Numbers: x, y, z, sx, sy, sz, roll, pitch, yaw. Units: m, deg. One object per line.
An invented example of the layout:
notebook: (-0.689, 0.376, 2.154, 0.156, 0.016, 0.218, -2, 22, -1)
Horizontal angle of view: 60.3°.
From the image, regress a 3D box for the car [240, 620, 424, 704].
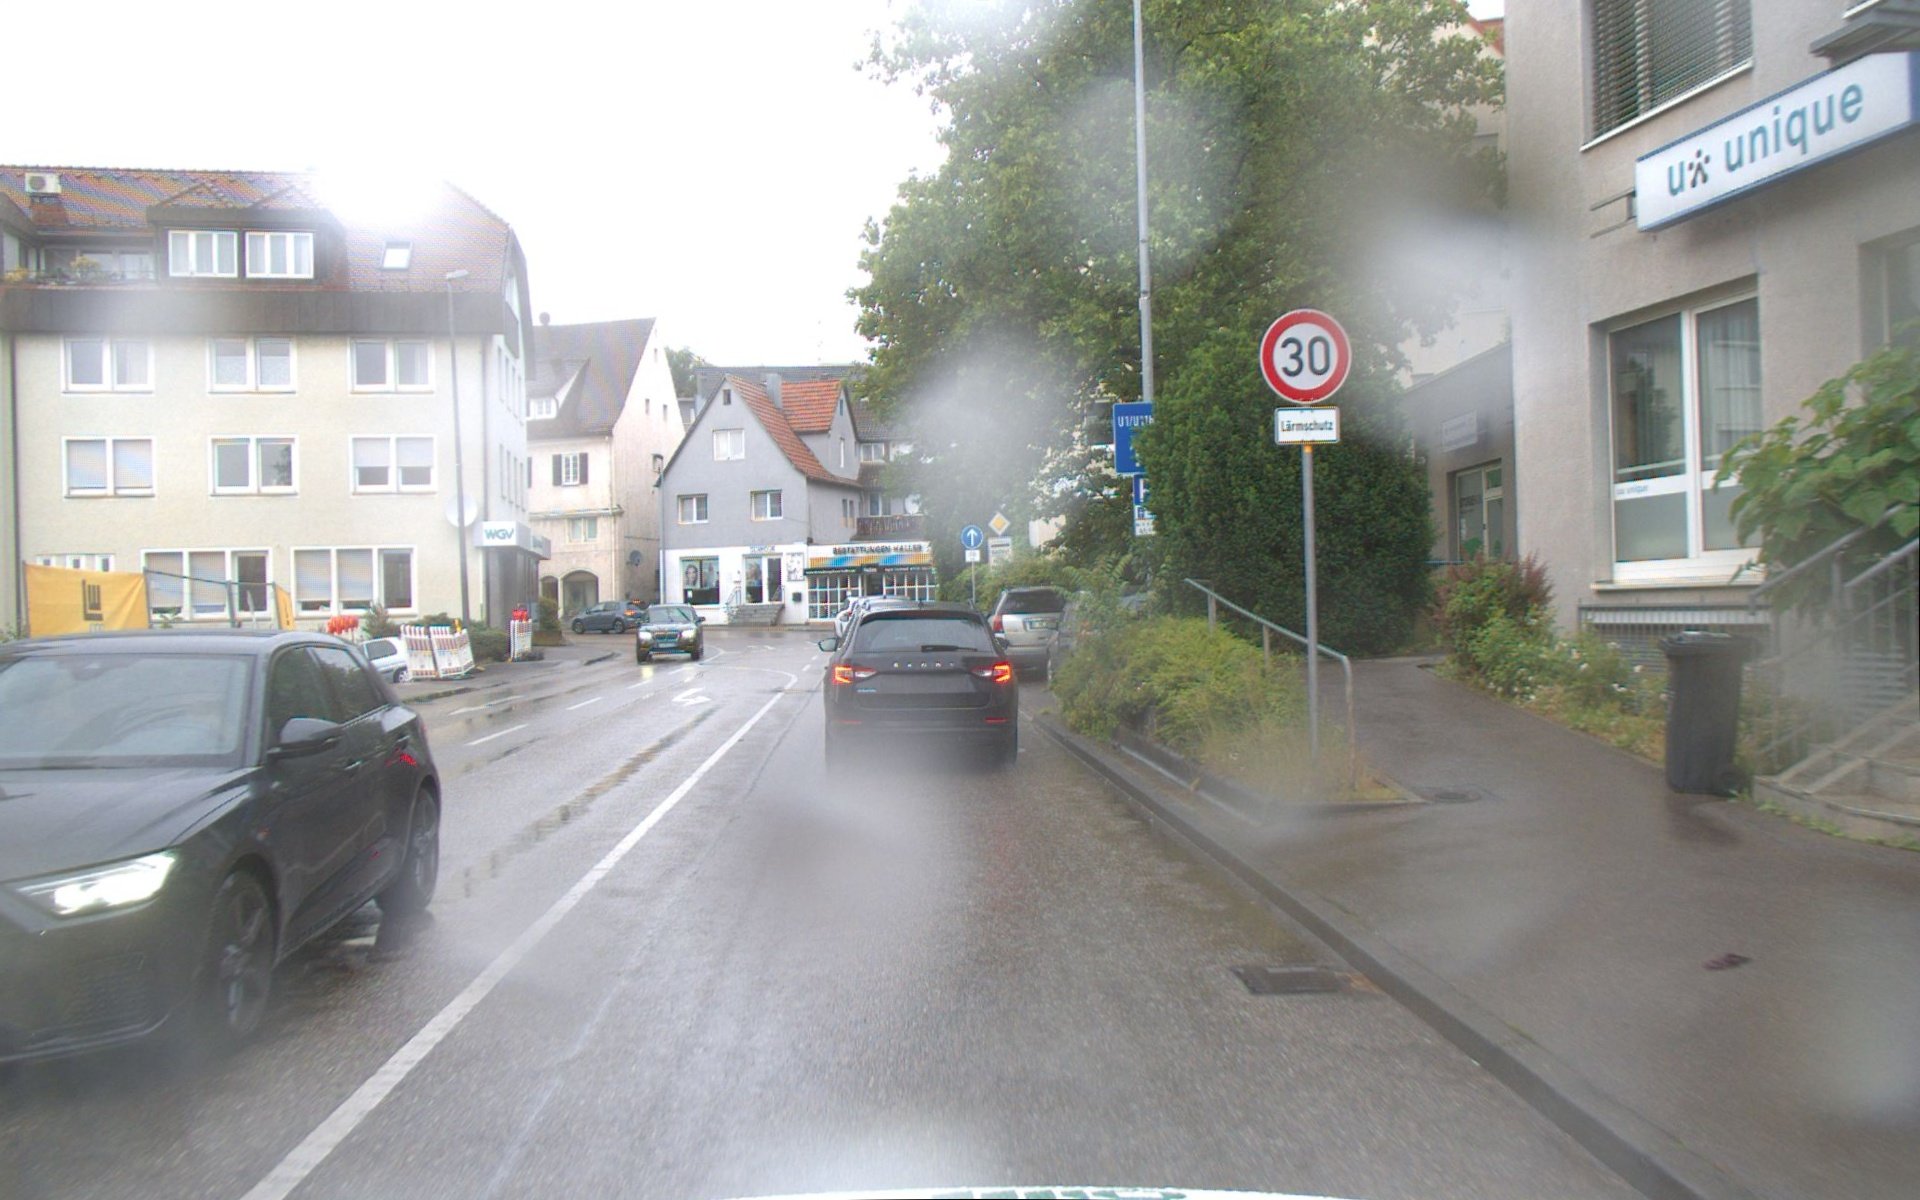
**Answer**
car: (-15.547, 1.515, 41.152, 3.944, 1.410, 1.787, -8, 3, -15)

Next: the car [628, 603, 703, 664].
car: (-8.353, 0.950, 46.648, 1.632, 1.598, 3.982, -2, -1, -16)

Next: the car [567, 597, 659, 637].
car: (-15.527, 0.766, 74.052, 3.604, 1.618, 1.897, -3, -1, 26)

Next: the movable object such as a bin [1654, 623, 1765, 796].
movable object such as a bin: (4.561, 0.650, 10.097, 0.500, 0.962, 0.603, 1, 4, 15)

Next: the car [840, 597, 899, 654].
car: (-2.825, 0.830, 52.323, 1.692, 1.618, 4.182, 0, -3, -1)

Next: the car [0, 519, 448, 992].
car: (-3.375, 0.459, 6.697, 1.584, 1.357, 3.950, -1, 0, -4)

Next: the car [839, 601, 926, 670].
car: (-1.732, 0.766, 36.625, 1.782, 1.383, 3.987, -1, -1, -3)

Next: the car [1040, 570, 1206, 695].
car: (2.405, 0.472, 25.232, 1.816, 1.670, 3.534, -3, 0, -5)

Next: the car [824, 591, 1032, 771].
car: (-0.304, 0.702, 16.124, 1.746, 1.509, 4.245, 0, -1, -1)

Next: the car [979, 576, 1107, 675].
car: (1.491, 0.458, 31.280, 1.816, 1.670, 3.866, -3, 0, -5)
